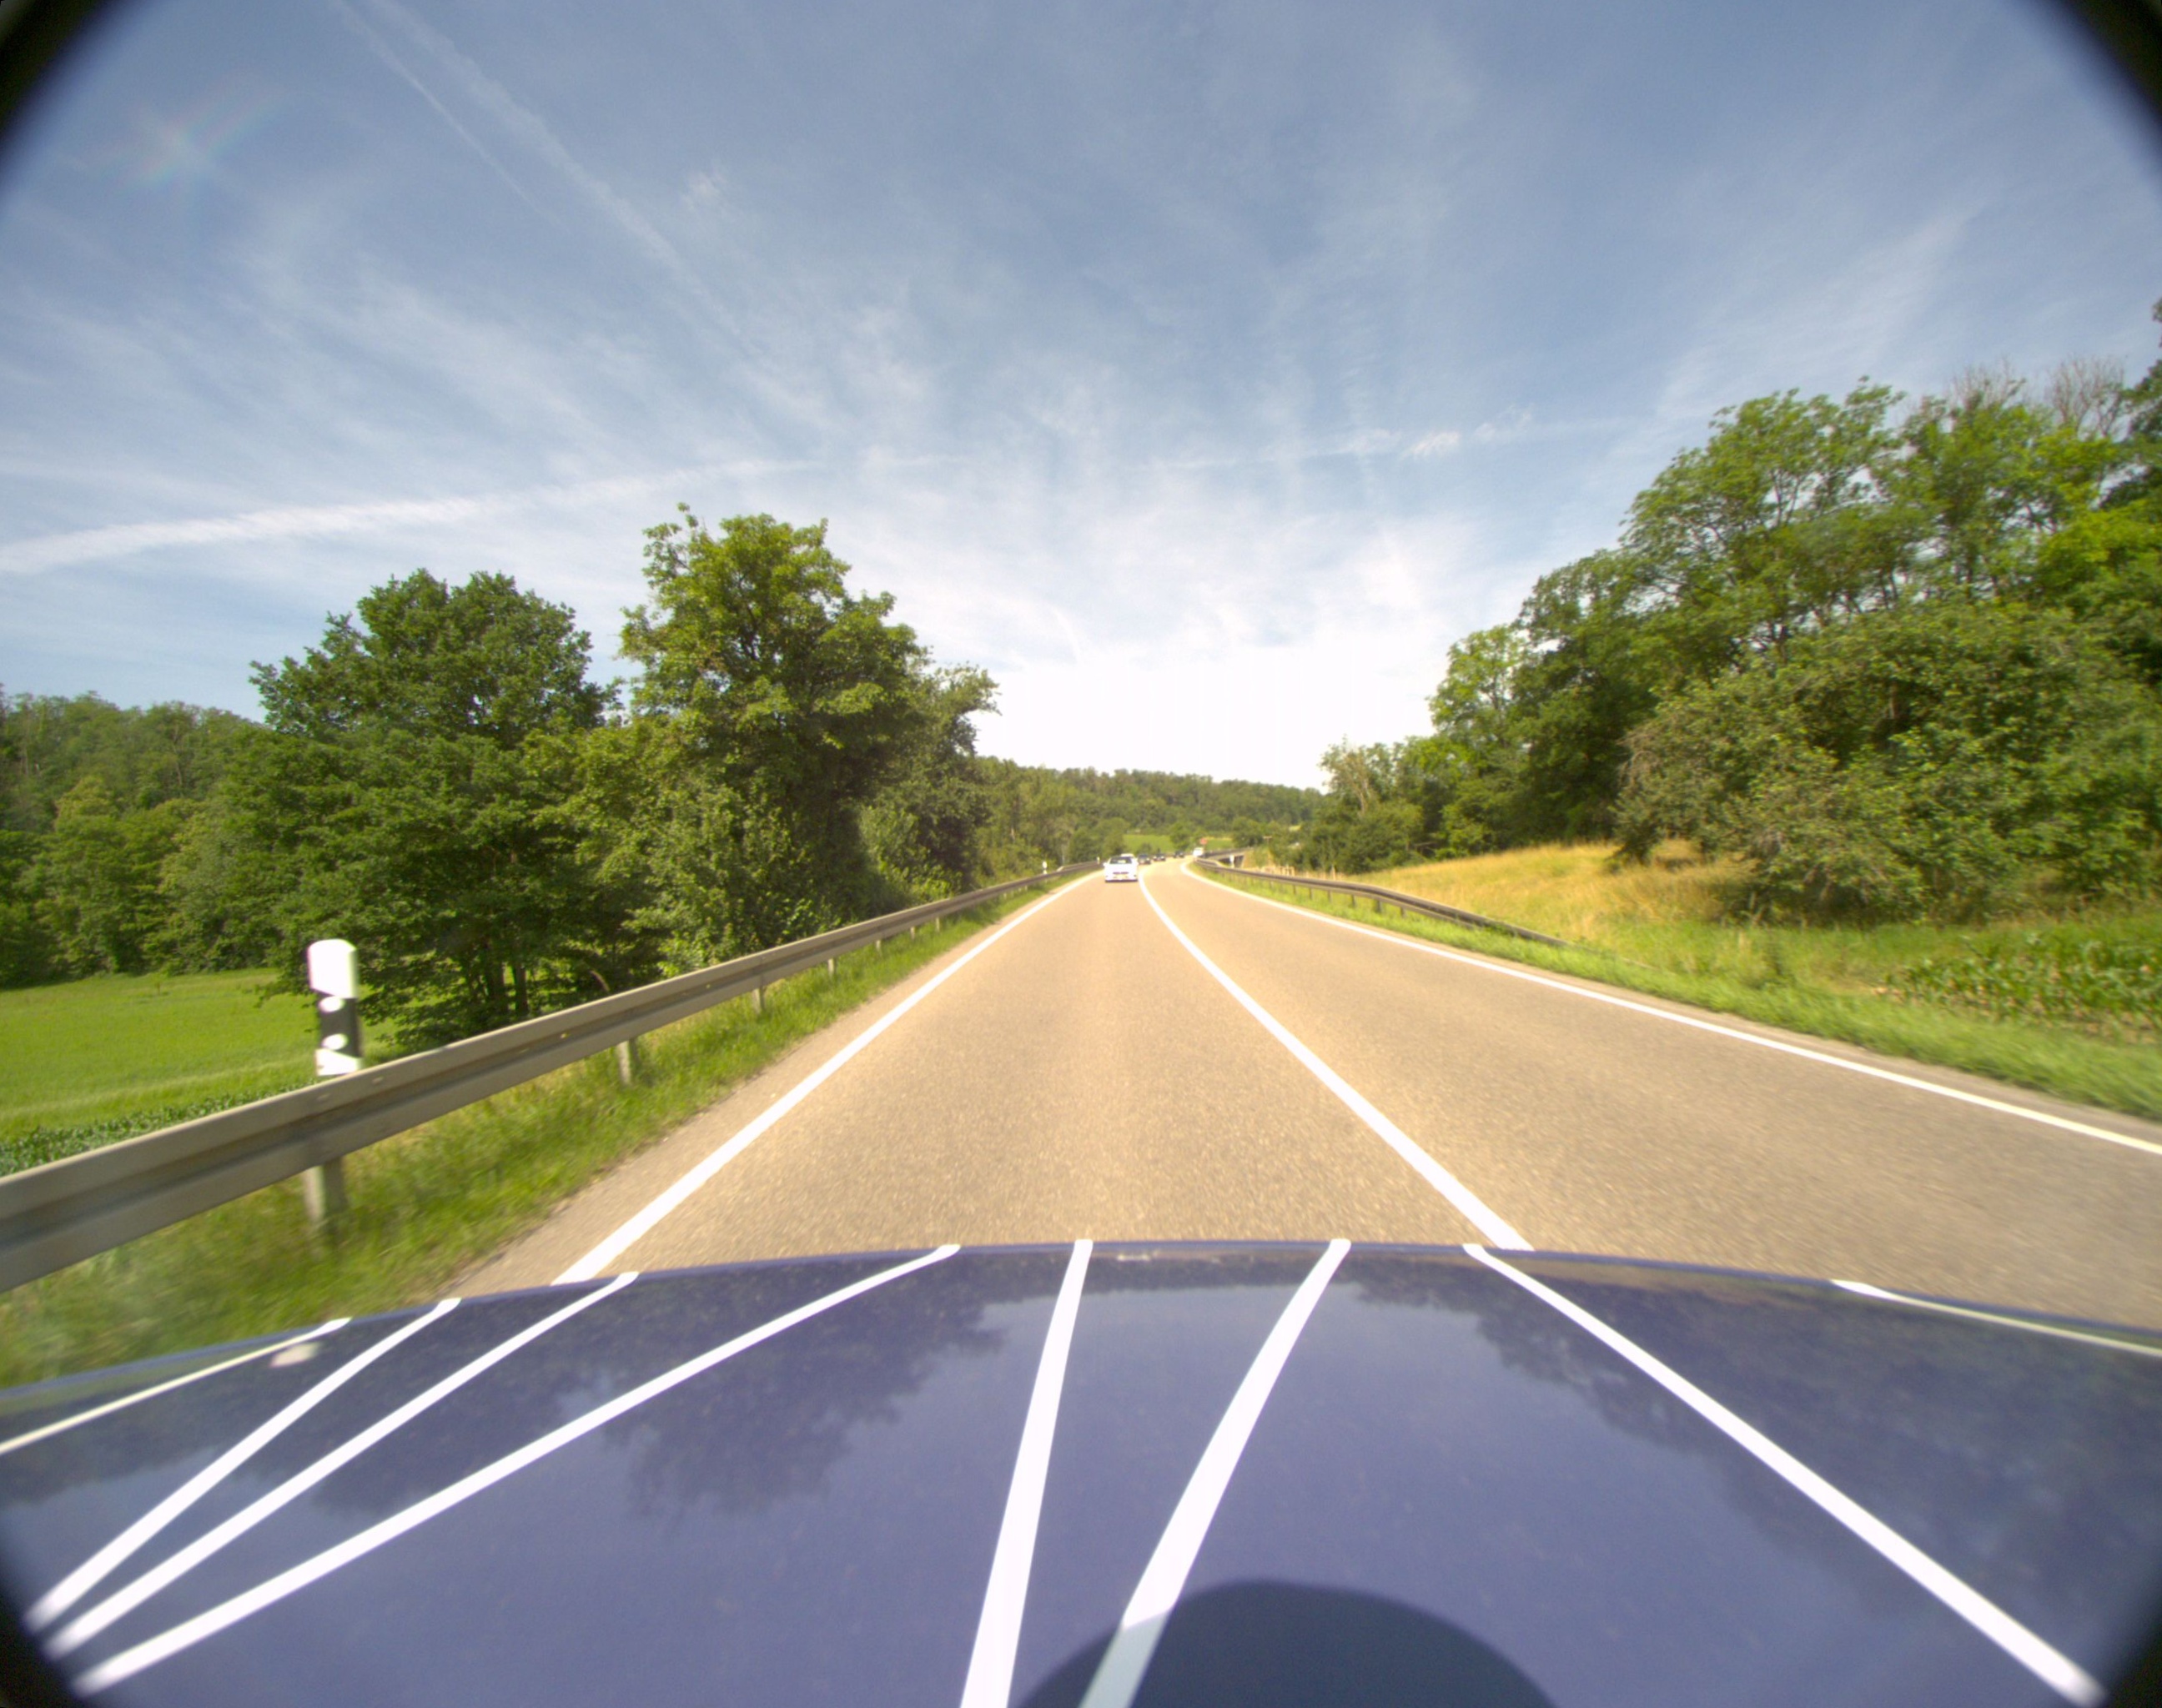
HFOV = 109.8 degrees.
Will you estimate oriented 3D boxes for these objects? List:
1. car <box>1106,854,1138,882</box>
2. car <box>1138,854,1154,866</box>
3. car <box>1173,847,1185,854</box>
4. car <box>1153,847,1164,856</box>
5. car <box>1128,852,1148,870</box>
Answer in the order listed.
[{"bbox_3d":[2.414,0.763,43.745,1.742,1.445,4.036,-2,1,4],"label":"car"},{"bbox_3d":[8.596,0.755,100.304,1.741,1.445,4.038,-2,1,9],"label":"car"},{"bbox_3d":[20.342,-0.778,157.201,1.741,1.445,4.040,-1,1,17],"label":"car"},{"bbox_3d":[12.925,-0.396,126.174,1.742,1.445,4.037,-2,1,6],"label":"car"},{"bbox_3d":[5.328,0.625,70.445,1.717,1.523,4.000,-2,1,5],"label":"car"}]
